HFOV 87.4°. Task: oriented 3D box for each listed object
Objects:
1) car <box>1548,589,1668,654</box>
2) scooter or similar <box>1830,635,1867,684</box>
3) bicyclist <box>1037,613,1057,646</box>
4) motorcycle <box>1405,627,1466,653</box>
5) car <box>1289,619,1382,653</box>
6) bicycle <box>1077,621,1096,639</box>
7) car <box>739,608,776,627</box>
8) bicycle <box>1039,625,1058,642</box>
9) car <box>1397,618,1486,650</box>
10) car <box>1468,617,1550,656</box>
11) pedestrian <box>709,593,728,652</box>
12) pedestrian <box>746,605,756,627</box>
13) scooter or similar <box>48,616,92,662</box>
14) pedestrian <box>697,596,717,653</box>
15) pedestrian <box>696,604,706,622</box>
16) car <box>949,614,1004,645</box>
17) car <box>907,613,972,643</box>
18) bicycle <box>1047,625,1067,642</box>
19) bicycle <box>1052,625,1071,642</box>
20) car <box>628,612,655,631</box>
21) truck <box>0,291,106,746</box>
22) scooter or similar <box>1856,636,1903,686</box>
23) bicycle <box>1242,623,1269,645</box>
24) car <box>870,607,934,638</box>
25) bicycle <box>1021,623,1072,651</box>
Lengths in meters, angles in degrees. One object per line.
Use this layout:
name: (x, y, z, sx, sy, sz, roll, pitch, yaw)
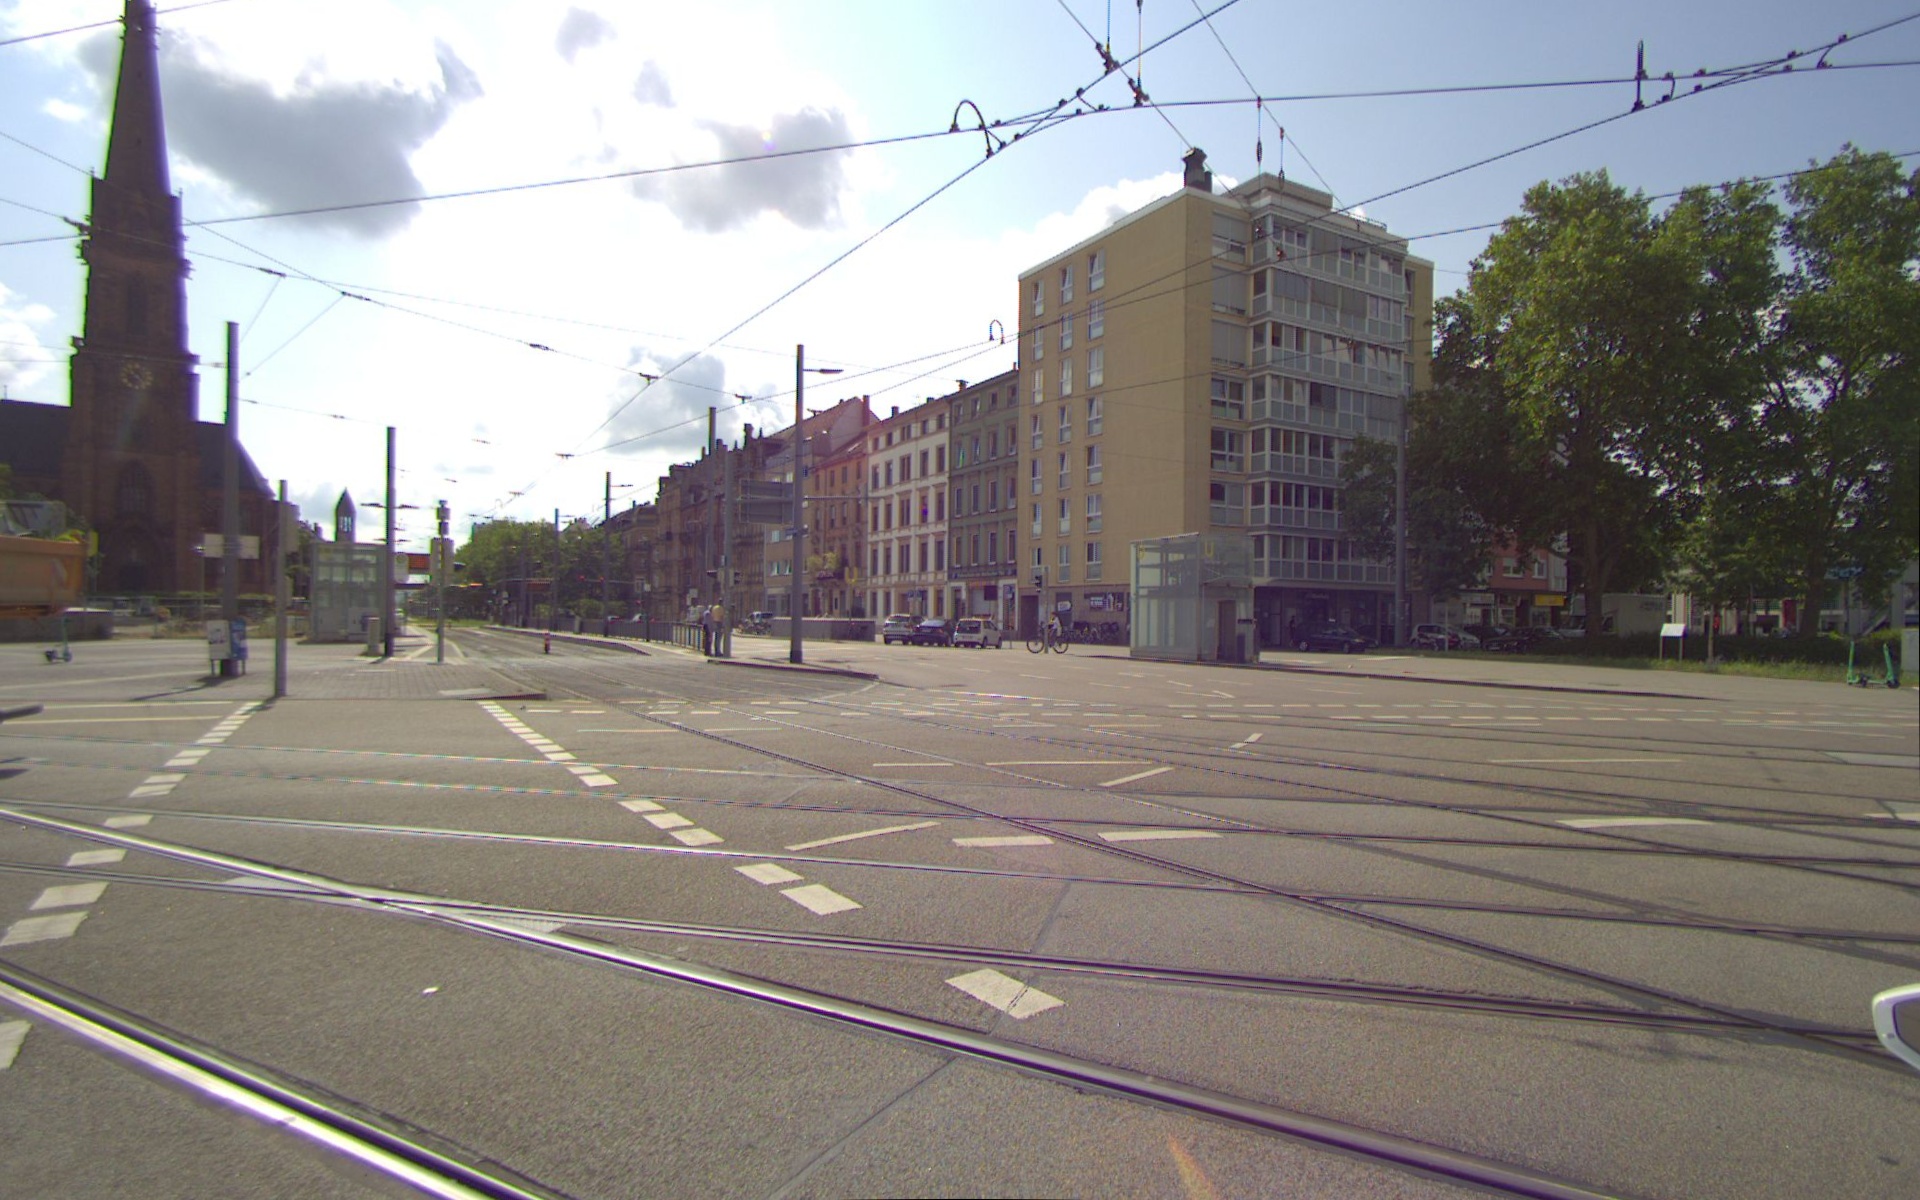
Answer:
car: (32.453, 1.086, 50.195, 7.162, 3.083, 1.984, 1, -1, -30)
scooter or similar: (23.174, 1.535, 26.211, 0.374, 1.212, 1.064, 2, 1, 23)
bicyclist: (3.647, 1.223, 42.111, 0.769, 1.354, 0.395, 1, 0, -2)
motorcycle: (20.549, 1.717, 43.456, 2.249, 1.043, 0.975, 1, -2, 19)
car: (18.199, 1.712, 48.848, 1.788, 1.534, 4.062, 1, -1, -31)
bicycle: (7.154, 1.710, 56.817, 0.290, 0.935, 1.453, 1, 1, -29)
car: (-20.945, 1.868, 103.765, 1.980, 1.886, 4.706, 1, -2, -35)
bicycle: (5.215, 1.966, 59.002, 0.290, 0.935, 1.451, 1, 0, -32)
car: (26.278, 1.847, 54.921, 1.788, 1.534, 4.061, 1, 1, -31)
car: (25.694, 1.669, 46.965, 3.965, 1.728, 1.978, 1, -1, -38)
pedestrian: (-8.515, 0.785, 35.452, 0.423, 2.040, 0.571, 1, -1, -41)
pedestrian: (-21.103, 1.600, 101.267, 0.715, 2.127, 0.780, 1, 1, -29)
scooter or similar: (-23.566, 1.011, 26.610, 0.806, 1.182, 1.155, 1, -1, -39)
pedestrian: (-9.041, 0.877, 35.907, 0.499, 2.040, 0.509, 1, -1, -41)
pedestrian: (-27.387, 1.373, 106.197, 0.684, 1.928, 0.661, 0, -1, 42)
car: (0.862, 1.518, 50.999, 1.744, 1.472, 3.497, 0, -2, 19)
car: (-1.034, 1.483, 53.268, 1.901, 1.479, 4.600, 1, -2, 20)
bicycle: (5.703, 1.958, 59.058, 0.290, 0.935, 1.451, 1, 0, -32)
bicycle: (5.971, 1.964, 59.225, 0.290, 0.935, 1.451, 1, 0, -32)
car: (-31.269, 2.083, 98.543, 1.675, 1.734, 3.577, 1, 1, -31)
truck: (-12.487, -0.769, 8.100, 7.950, 4.062, 2.824, 1, -1, -20)
scooter or similar: (23.532, 1.551, 25.716, 0.374, 1.212, 1.065, 2, 1, 13)
bicycle: (15.711, 1.810, 53.375, 1.329, 1.144, 0.590, 1, 1, -27)
car: (-3.192, 1.243, 56.287, 2.020, 1.669, 4.597, 1, -1, 18)
bicycle: (3.610, 1.545, 42.134, 2.060, 1.121, 0.544, 1, 0, -3)
